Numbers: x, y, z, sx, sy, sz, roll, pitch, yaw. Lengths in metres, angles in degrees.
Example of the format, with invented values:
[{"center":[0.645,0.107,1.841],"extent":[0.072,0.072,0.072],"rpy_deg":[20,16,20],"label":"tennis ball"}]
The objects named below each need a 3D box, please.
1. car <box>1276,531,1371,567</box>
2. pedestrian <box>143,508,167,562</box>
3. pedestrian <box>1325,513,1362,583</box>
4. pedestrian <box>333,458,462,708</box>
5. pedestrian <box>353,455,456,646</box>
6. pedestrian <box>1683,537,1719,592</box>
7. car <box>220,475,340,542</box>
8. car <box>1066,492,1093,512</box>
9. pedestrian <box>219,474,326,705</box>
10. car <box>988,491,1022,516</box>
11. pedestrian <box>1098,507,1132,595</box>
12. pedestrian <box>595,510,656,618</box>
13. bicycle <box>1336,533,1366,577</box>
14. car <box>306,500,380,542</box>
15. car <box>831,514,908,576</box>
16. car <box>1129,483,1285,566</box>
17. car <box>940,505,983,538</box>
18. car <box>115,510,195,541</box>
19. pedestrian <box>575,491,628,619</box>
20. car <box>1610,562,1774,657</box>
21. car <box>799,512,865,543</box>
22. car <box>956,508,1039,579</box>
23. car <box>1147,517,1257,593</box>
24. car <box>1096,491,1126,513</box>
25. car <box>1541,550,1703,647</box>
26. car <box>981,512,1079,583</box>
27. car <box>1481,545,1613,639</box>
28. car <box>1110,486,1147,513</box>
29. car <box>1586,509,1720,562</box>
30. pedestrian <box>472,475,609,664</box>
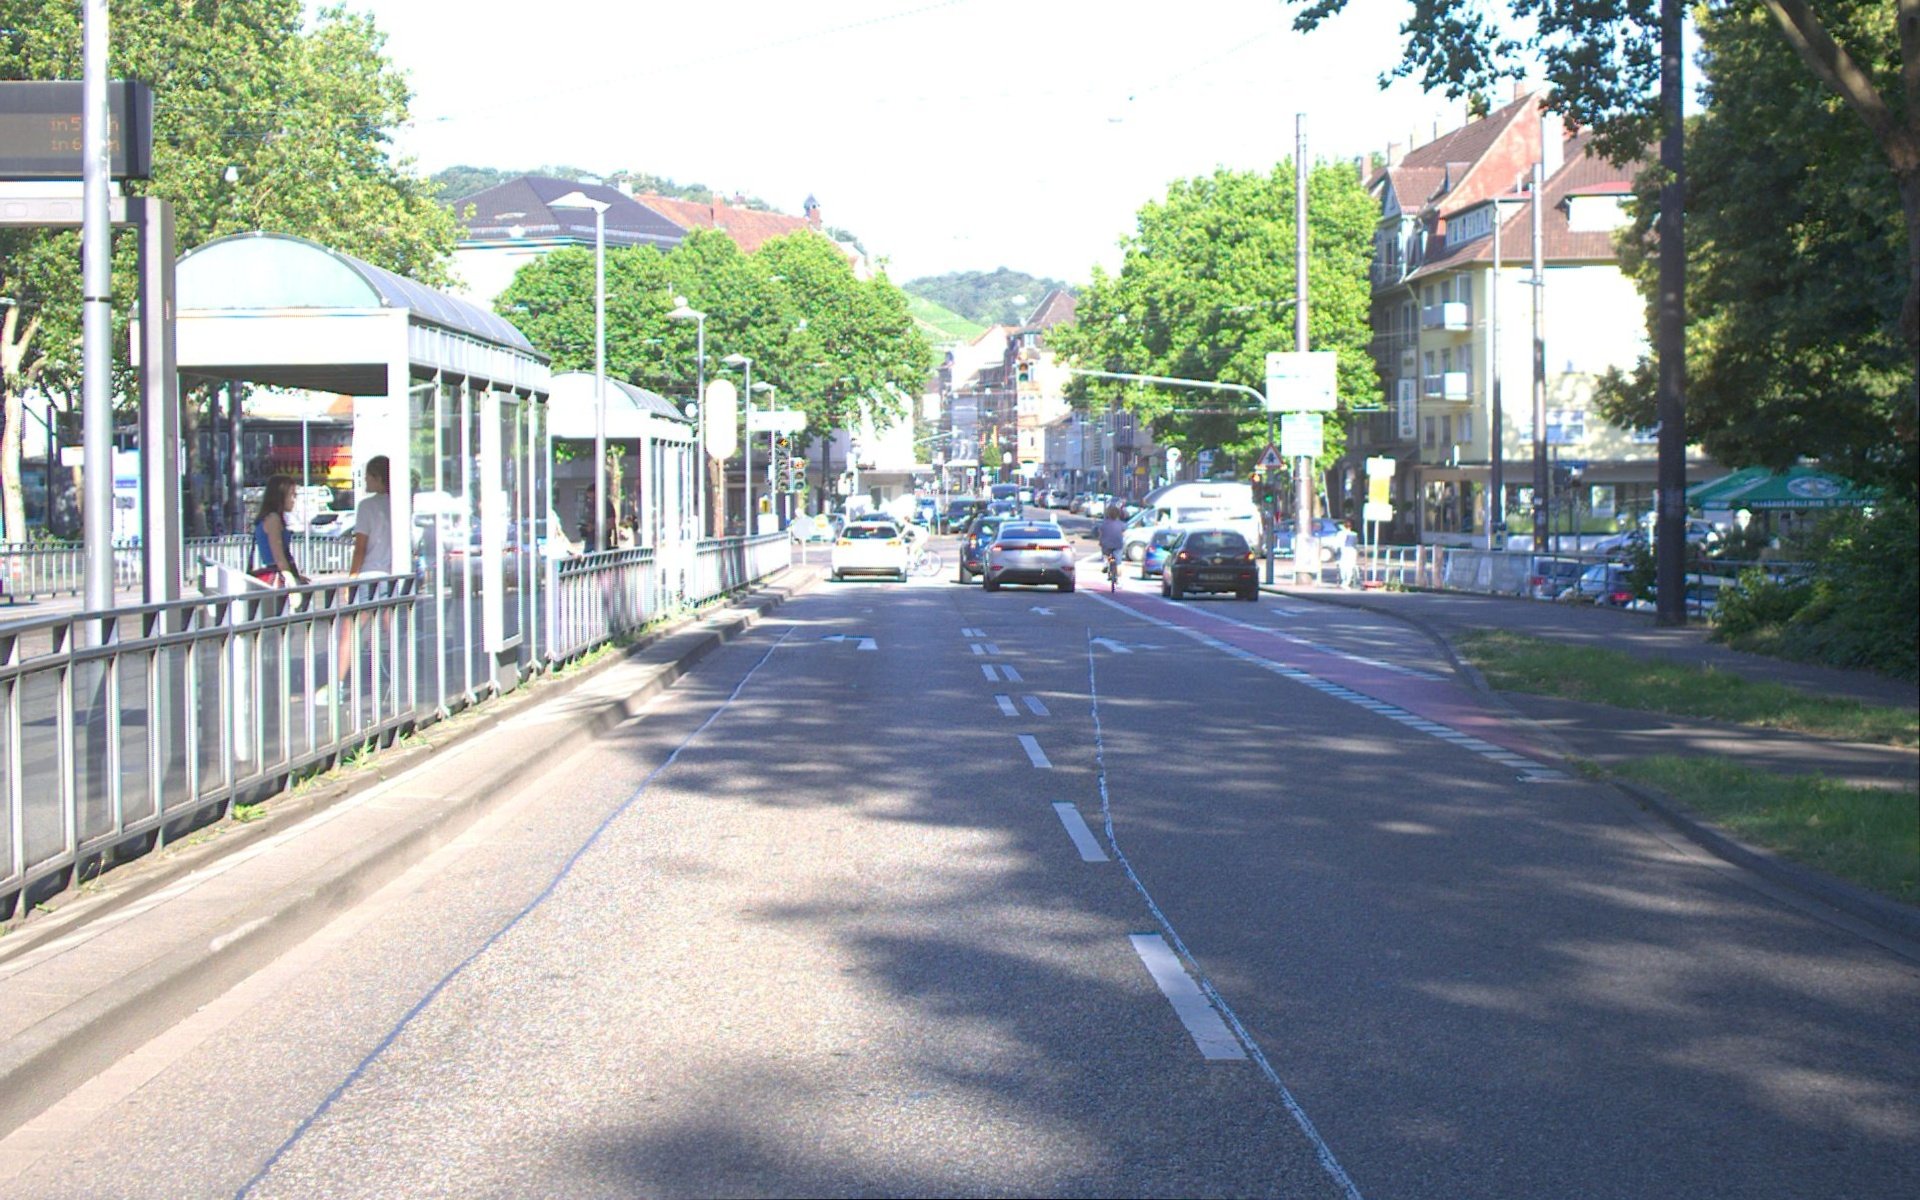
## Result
[{"center":[12.250,-1.716,115.975],"extent":[2.902,1.158,2.074],"rpy_deg":[0,1,-2],"label":"car"},{"center":[-23.220,-1.869,99.180],"extent":[0.535,1.546,0.677],"rpy_deg":[0,1,-1],"label":"pedestrian"},{"center":[8.716,-1.183,78.060],"extent":[0.648,1.557,0.631],"rpy_deg":[3,1,18],"label":"pedestrian"},{"center":[-3.894,-0.124,23.826],"extent":[0.742,1.688,0.791],"rpy_deg":[1,1,0],"label":"pedestrian"},{"center":[-5.075,-0.455,31.414],"extent":[0.651,1.716,0.710],"rpy_deg":[0,1,-36],"label":"pedestrian"},{"center":[18.149,-0.871,84.237],"extent":[0.649,1.333,0.631],"rpy_deg":[3,2,29],"label":"pedestrian"},{"center":[-32.695,-4.403,165.604],"extent":[2.498,3.154,6.528],"rpy_deg":[0,2,22],"label":"car"},{"center":[9.024,-7.398,259.902],"extent":[1.794,1.517,4.001],"rpy_deg":[0,2,-1],"label":"car"},{"center":[-4.745,-0.080,23.752],"extent":[0.588,1.561,0.650],"rpy_deg":[1,1,0],"label":"pedestrian"},{"center":[2.678,-5.790,206.284],"extent":[1.794,1.505,4.001],"rpy_deg":[0,2,-2],"label":"car"},{"center":[3.296,-1.048,73.160],"extent":[0.657,1.864,0.678],"rpy_deg":[0,1,-1],"label":"pedestrian"},{"center":[-4.084,-0.447,42.007],"extent":[0.678,1.304,0.593],"rpy_deg":[0,1,0],"label":"pedestrian"},{"center":[9.634,-1.101,84.767],"extent":[0.498,1.071,1.800],"rpy_deg":[1,1,-1],"label":"bicycle"},{"center":[-29.508,-3.793,164.465],"extent":[1.796,1.949,3.997],"rpy_deg":[0,2,18],"label":"car"},{"center":[-2.199,-1.358,83.294],"extent":[1.808,1.447,4.001],"rpy_deg":[0,1,-2],"label":"car"},{"center":[8.291,-2.525,115.790],"extent":[5.014,2.733,2.074],"rpy_deg":[0,1,-2],"label":"car"},{"center":[0.098,-4.401,191.674],"extent":[1.795,1.820,3.999],"rpy_deg":[0,2,9],"label":"car"},{"center":[-39.555,-3.675,169.016],"extent":[1.796,1.505,3.996],"rpy_deg":[0,2,23],"label":"car"},{"center":[-4.728,-0.594,45.356],"extent":[0.595,1.672,0.589],"rpy_deg":[1,1,4],"label":"pedestrian"},{"center":[12.791,0.135,60.323],"extent":[1.794,1.573,4.443],"rpy_deg":[1,1,-1],"label":"car"},{"center":[-6.335,-3.586,170.133],"extent":[1.726,1.505,3.871],"rpy_deg":[0,1,24],"label":"car"},{"center":[0.870,-1.355,81.573],"extent":[1.800,1.632,4.046],"rpy_deg":[0,2,-2],"label":"car"},{"center":[4.828,-0.926,69.069],"extent":[1.800,1.434,4.046],"rpy_deg":[1,2,-1],"label":"car"},{"center":[10.312,-6.676,234.522],"extent":[1.794,1.505,4.001],"rpy_deg":[0,2,-1],"label":"car"},{"center":[12.772,-0.061,66.569],"extent":[1.794,1.796,4.212],"rpy_deg":[1,1,-8],"label":"car"},{"center":[1.482,-1.156,74.271],"extent":[1.929,1.467,4.855],"rpy_deg":[0,2,-1],"label":"car"},{"center":[12.328,-0.193,72.419],"extent":[1.794,1.891,4.360],"rpy_deg":[1,1,-3],"label":"car"},{"center":[11.151,-6.634,228.001],"extent":[2.104,1.770,4.342],"rpy_deg":[0,2,-1],"label":"car"},{"center":[22.919,-2.146,113.650],"extent":[4.150,1.686,1.820],"rpy_deg":[1,1,17],"label":"car"},{"center":[-3.723,-0.280,30.548],"extent":[0.801,1.628,0.865],"rpy_deg":[3,2,37],"label":"pedestrian"}]
